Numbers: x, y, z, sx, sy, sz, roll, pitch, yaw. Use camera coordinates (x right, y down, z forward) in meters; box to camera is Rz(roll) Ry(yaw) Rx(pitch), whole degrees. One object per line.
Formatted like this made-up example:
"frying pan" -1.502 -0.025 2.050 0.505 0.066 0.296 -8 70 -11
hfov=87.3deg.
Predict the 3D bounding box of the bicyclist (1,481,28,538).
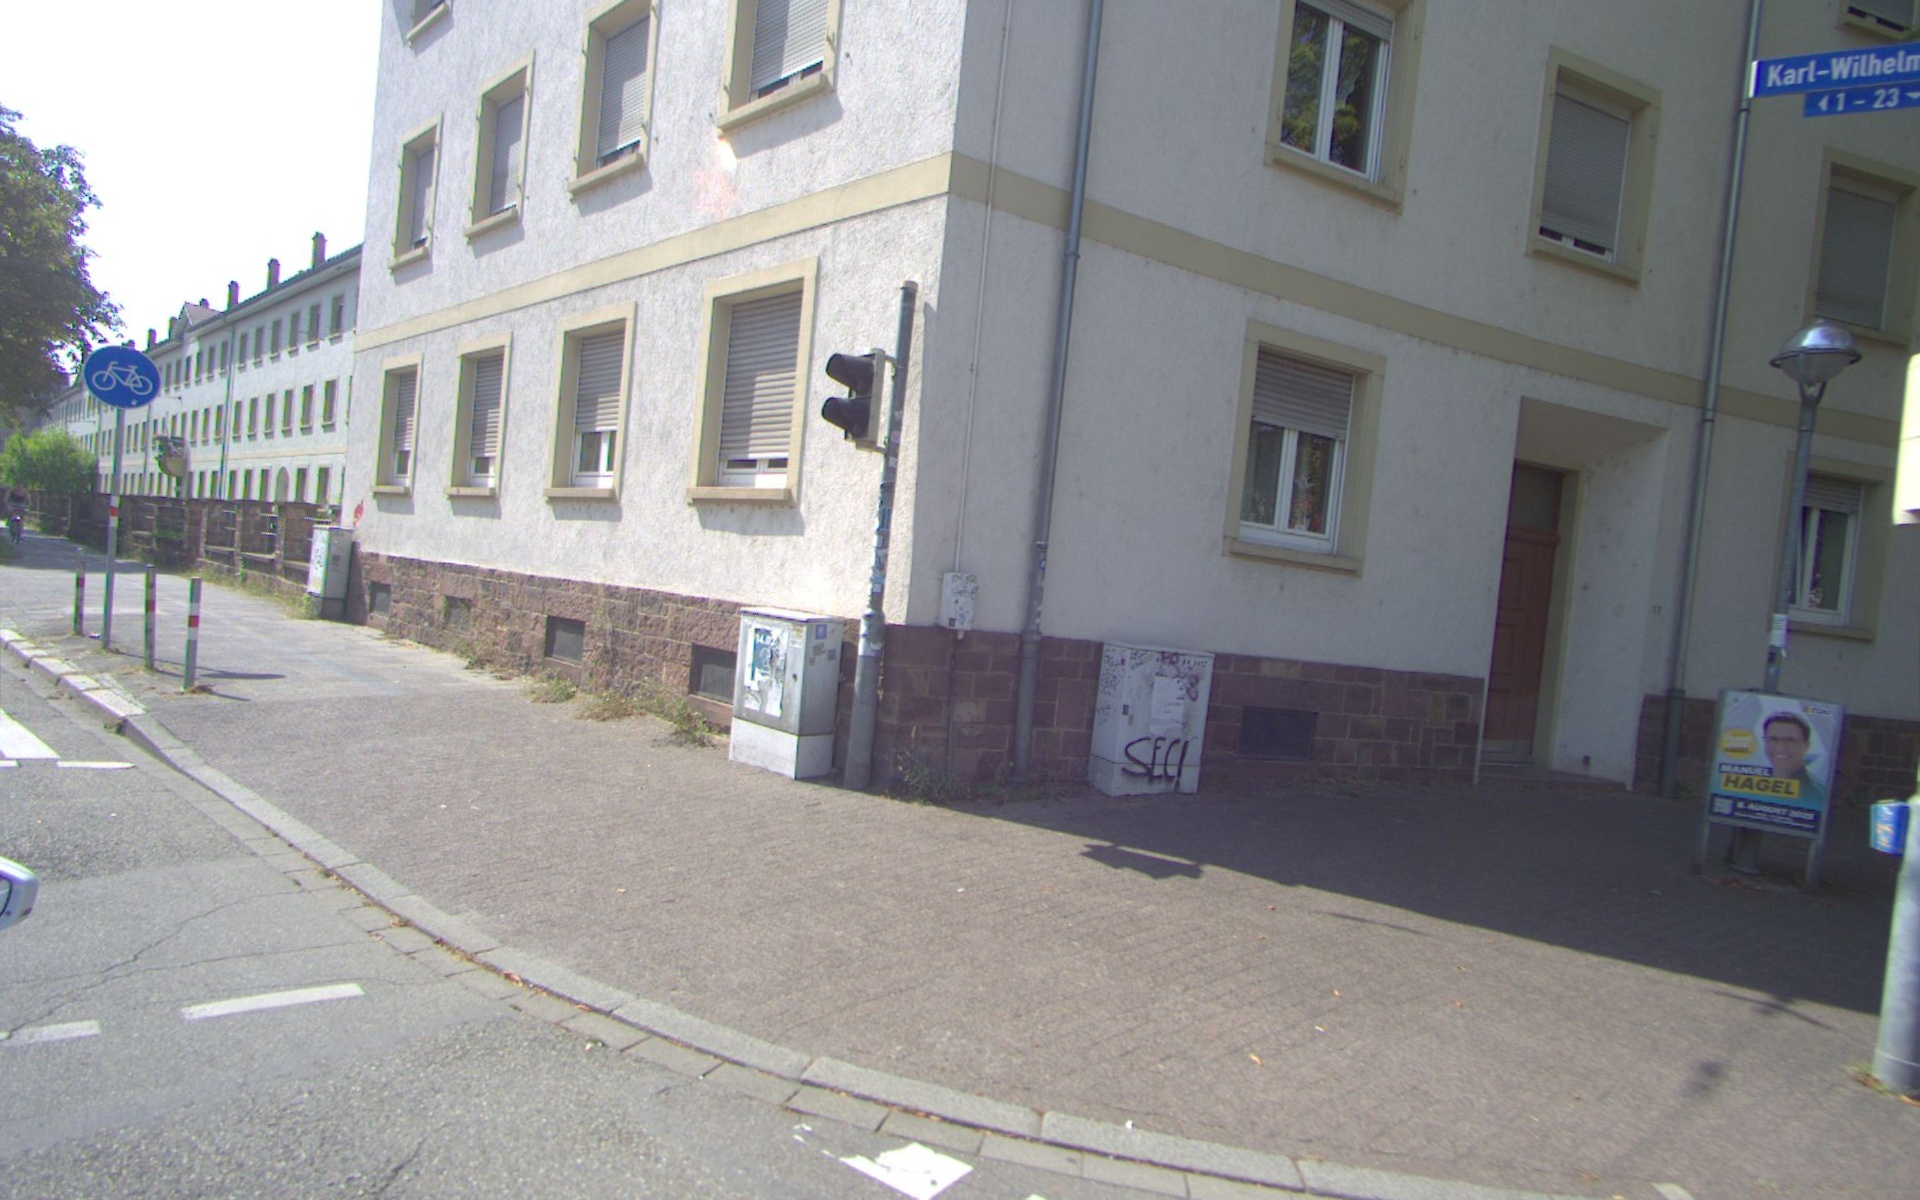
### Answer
"bicyclist" -26.455 -2.525 28.148 0.465 1.531 0.436 7 2 39

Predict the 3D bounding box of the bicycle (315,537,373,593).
"bicycle" -13.294 -0.768 21.683 1.802 1.060 0.439 6 1 40

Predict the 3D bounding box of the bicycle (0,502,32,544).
"bicycle" -26.402 -2.162 28.083 1.802 1.060 0.439 6 1 40
